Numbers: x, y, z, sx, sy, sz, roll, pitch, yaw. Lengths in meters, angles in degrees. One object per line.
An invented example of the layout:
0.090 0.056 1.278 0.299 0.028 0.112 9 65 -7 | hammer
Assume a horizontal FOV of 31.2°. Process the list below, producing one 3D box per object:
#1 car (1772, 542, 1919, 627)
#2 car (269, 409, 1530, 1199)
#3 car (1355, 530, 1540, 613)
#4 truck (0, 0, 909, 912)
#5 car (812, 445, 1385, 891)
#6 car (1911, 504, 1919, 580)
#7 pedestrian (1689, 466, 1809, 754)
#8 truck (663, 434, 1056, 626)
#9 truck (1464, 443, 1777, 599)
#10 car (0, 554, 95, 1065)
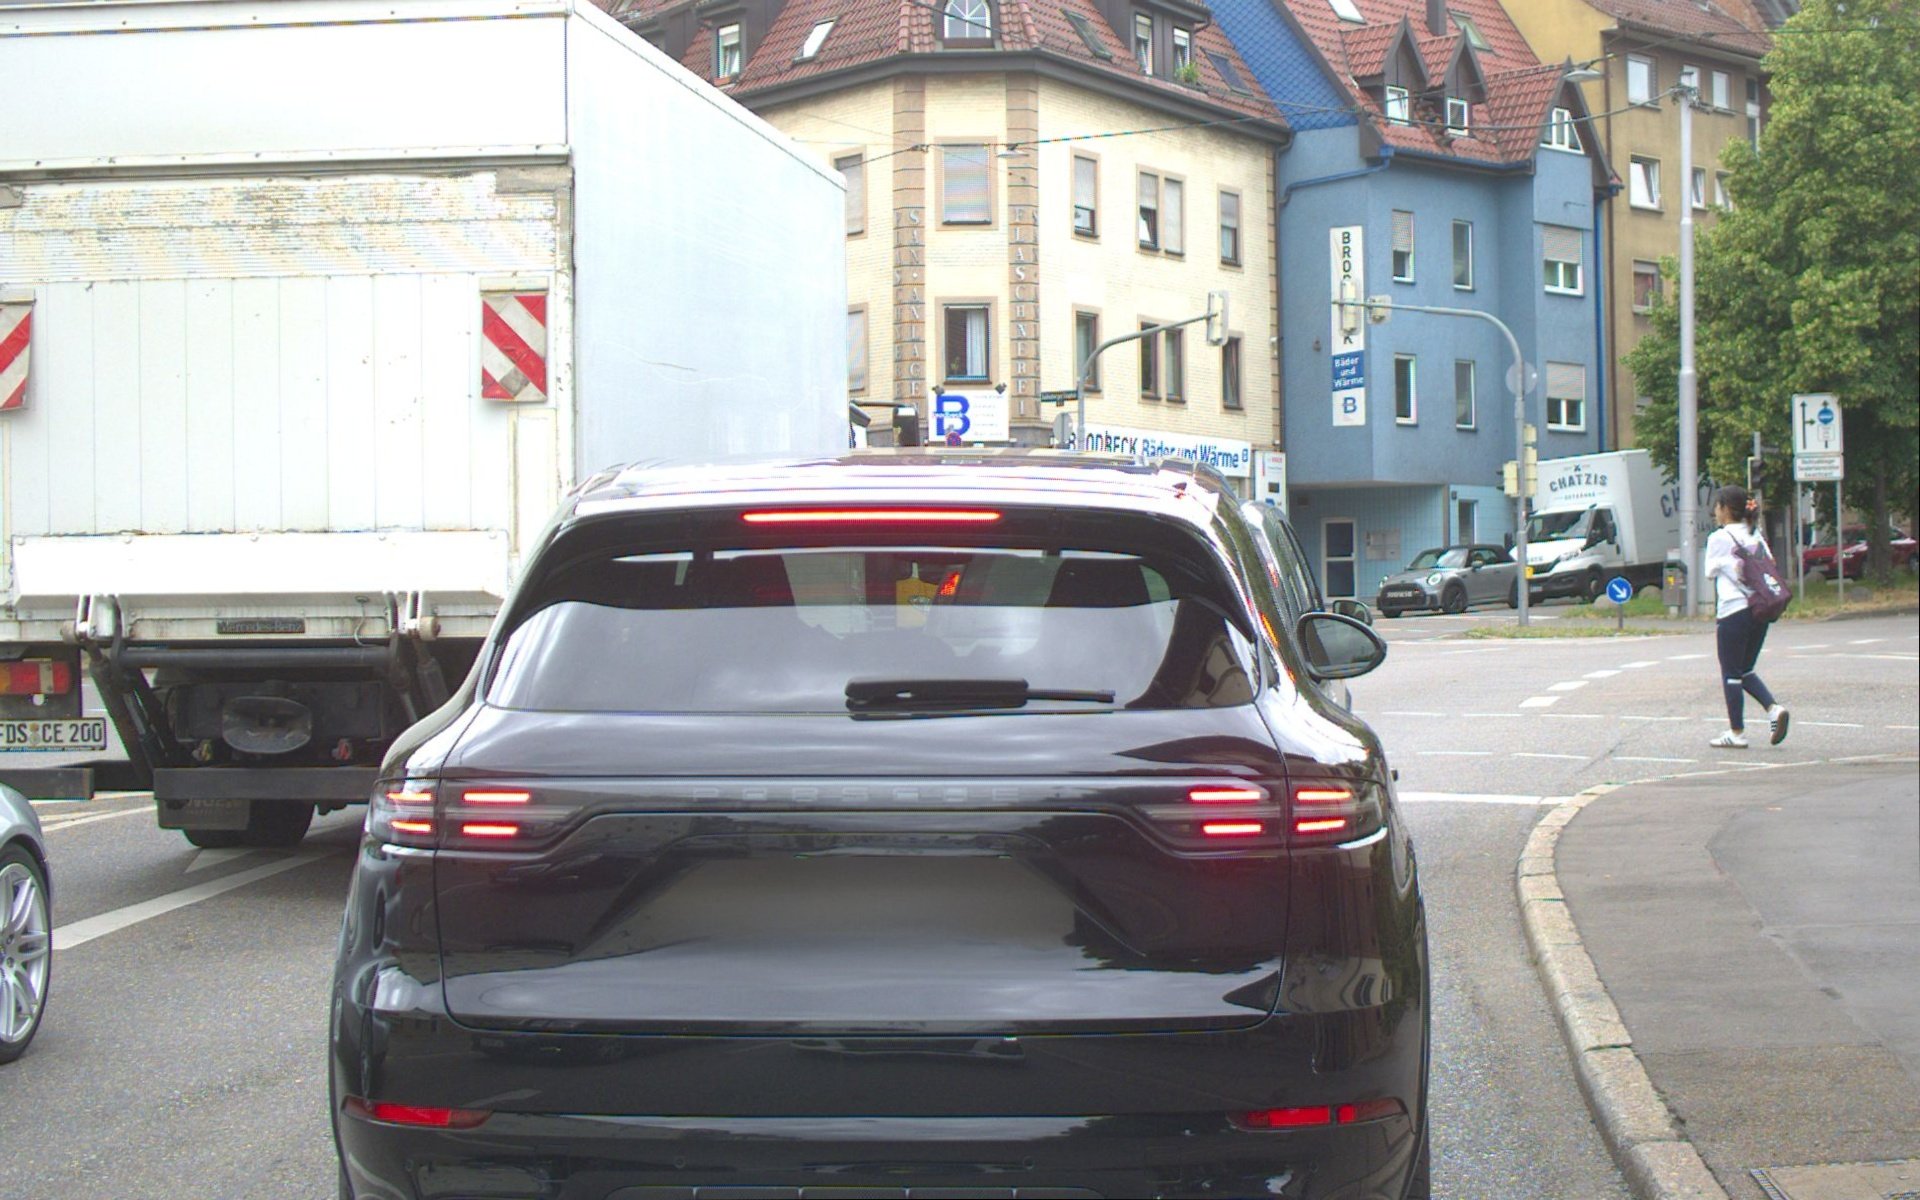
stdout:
22.286 -0.387 86.183 1.999 2.007 3.990 2 1 43 | car
-0.201 0.486 7.405 1.978 1.678 4.001 0 2 -3 | car
10.211 -0.599 71.840 1.998 1.678 3.990 0 1 41 | car
-2.247 -0.709 17.203 2.770 3.562 8.062 0 1 8 | truck
0.757 0.228 15.076 1.994 1.678 3.998 0 1 10 | car
27.148 -1.471 91.213 1.999 2.007 3.990 2 1 43 | car
5.062 0.061 22.067 0.589 1.813 0.529 2 0 1 | pedestrian
-1.686 -1.078 54.103 2.500 2.794 6.717 1 0 -40 | truck
15.204 -1.754 78.554 2.880 3.328 8.772 2 1 41 | truck
-3.512 0.608 8.084 1.696 1.368 4.177 0 2 3 | car
